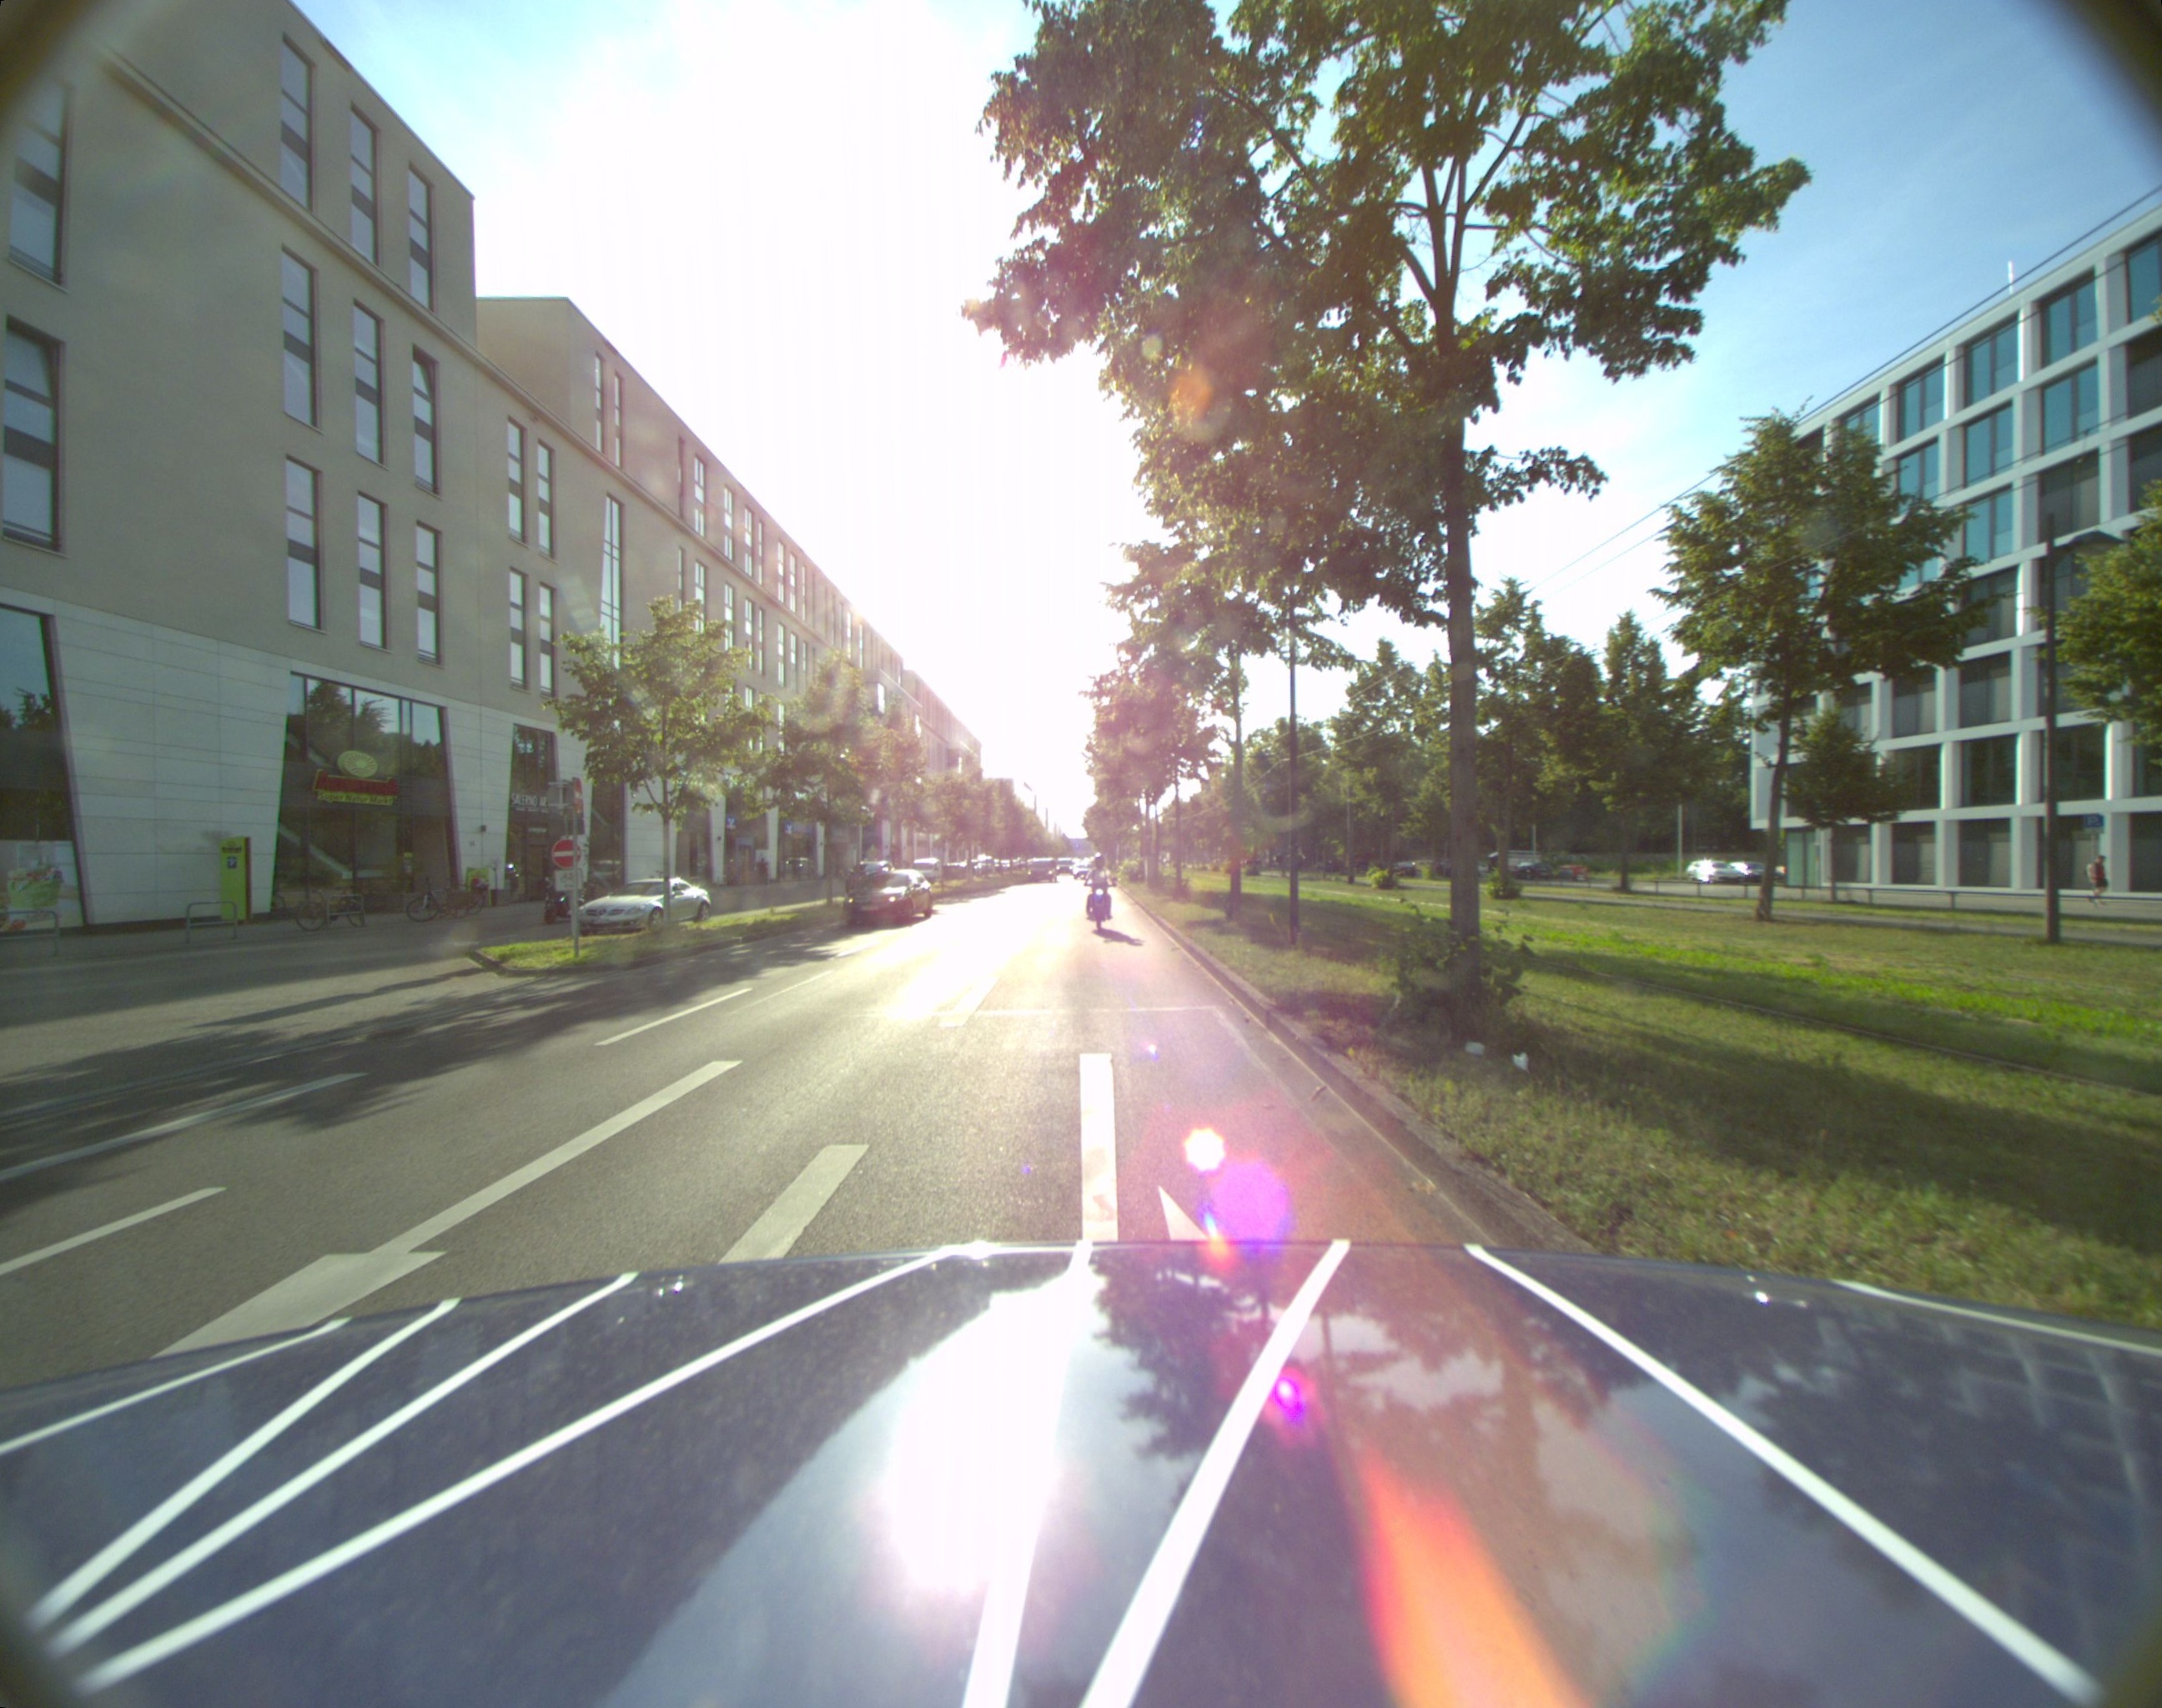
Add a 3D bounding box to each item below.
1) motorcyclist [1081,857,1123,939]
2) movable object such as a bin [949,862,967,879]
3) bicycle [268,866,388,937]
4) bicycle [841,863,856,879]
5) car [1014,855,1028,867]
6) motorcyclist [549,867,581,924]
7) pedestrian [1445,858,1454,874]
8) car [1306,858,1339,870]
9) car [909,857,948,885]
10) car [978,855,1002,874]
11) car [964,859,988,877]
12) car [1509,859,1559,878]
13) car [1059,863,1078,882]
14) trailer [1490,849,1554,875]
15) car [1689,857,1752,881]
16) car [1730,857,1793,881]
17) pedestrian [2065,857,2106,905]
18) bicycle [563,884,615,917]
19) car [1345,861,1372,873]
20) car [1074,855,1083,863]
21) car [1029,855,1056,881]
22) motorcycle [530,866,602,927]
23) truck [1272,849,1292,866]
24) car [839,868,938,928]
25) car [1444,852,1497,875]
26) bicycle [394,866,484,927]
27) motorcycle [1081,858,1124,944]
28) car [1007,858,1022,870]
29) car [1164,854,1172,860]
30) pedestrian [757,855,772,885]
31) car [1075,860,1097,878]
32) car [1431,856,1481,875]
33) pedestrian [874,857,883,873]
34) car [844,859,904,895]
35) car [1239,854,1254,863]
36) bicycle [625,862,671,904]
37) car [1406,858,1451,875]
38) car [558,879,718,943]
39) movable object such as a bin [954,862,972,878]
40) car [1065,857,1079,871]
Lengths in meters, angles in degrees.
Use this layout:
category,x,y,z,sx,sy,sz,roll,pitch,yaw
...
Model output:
category,x,y,z,sx,sy,sz,roll,pitch,yaw
motorcyclist,0.439,0.937,16.467,0.814,1.699,0.843,-2,1,0
movable object such as a bin,-9.934,1.293,61.309,1.281,1.284,1.178,-2,1,-2
bicycle,-18.444,1.121,18.696,0.557,1.562,2.276,-2,1,2
bicycle,-17.581,1.271,57.429,0.493,1.109,1.945,0,1,1
car,-10.204,1.120,130.166,1.899,1.863,4.844,-2,1,0
motorcyclist,-14.914,1.197,21.963,0.625,1.631,0.418,1,1,-1
pedestrian,34.627,1.155,71.357,0.523,1.472,0.568,-2,1,0
car,31.285,1.287,98.493,1.689,1.427,4.027,-3,1,-27
car,-10.434,1.111,52.229,1.832,1.702,4.295,-2,1,-1
car,-9.969,1.124,83.617,1.842,1.865,5.031,-2,1,1
car,-10.203,1.310,73.950,1.735,1.620,4.849,-1,0,-2
car,36.513,1.156,61.323,1.684,1.385,3.760,-2,1,-2
car,-1.413,2.141,87.259,1.909,2.002,4.000,-2,1,1
trailer,37.826,0.709,65.178,4.374,2.042,1.758,-2,1,4
car,46.960,1.055,55.881,1.851,1.586,4.003,-2,1,12
car,49.589,1.048,55.481,1.687,1.548,4.003,-2,1,13
pedestrian,36.696,0.979,27.754,0.569,1.718,0.691,-2,1,1
bicycle,-18.007,1.682,27.841,0.635,1.077,1.904,0,0,1
car,37.660,1.708,103.333,1.791,1.434,4.359,-2,1,-5
car,-0.498,0.949,153.037,1.840,1.521,4.328,-2,1,1
car,-3.072,1.085,61.071,1.803,1.880,4.821,-2,1,1
motorcycle,-14.903,1.186,22.038,0.703,1.608,2.011,3,1,-1
truck,43.631,0.721,165.029,2.895,3.495,7.946,-2,1,5
car,-5.464,1.213,22.113,1.698,1.416,4.039,-2,1,2
car,36.392,0.904,70.983,4.002,1.936,1.758,-2,1,1
bicycle,-18.173,1.165,21.598,0.557,1.558,2.212,-2,1,2
motorcycle,0.433,0.944,16.501,0.798,1.659,2.634,-2,1,0
car,-8.529,1.210,97.026,1.620,1.404,4.167,-2,1,-2
car,24.902,0.852,218.045,1.686,1.467,4.813,2,1,1
pedestrian,-19.256,0.962,46.235,0.538,1.752,0.646,-2,1,1
car,0.399,1.262,66.830,1.756,1.427,4.034,-2,1,-2
car,36.525,1.112,74.071,4.002,1.633,1.758,-2,1,1
pedestrian,-19.548,1.068,73.345,0.541,1.565,0.514,-3,1,-42
car,-10.855,1.172,40.177,1.902,1.698,4.677,-2,0,-1
car,28.918,0.748,133.049,1.835,1.423,4.475,-2,1,2
bicycle,-18.173,1.197,31.967,0.557,1.609,2.212,-2,1,2
car,37.228,1.315,81.448,3.996,1.551,1.856,-2,1,3
car,-11.005,1.353,19.225,1.712,1.235,3.905,-2,1,0
movable object such as a bin,-9.730,1.318,62.560,1.281,1.229,1.191,-2,1,-2
car,-1.348,1.529,115.403,1.998,2.002,4.000,-2,1,1
